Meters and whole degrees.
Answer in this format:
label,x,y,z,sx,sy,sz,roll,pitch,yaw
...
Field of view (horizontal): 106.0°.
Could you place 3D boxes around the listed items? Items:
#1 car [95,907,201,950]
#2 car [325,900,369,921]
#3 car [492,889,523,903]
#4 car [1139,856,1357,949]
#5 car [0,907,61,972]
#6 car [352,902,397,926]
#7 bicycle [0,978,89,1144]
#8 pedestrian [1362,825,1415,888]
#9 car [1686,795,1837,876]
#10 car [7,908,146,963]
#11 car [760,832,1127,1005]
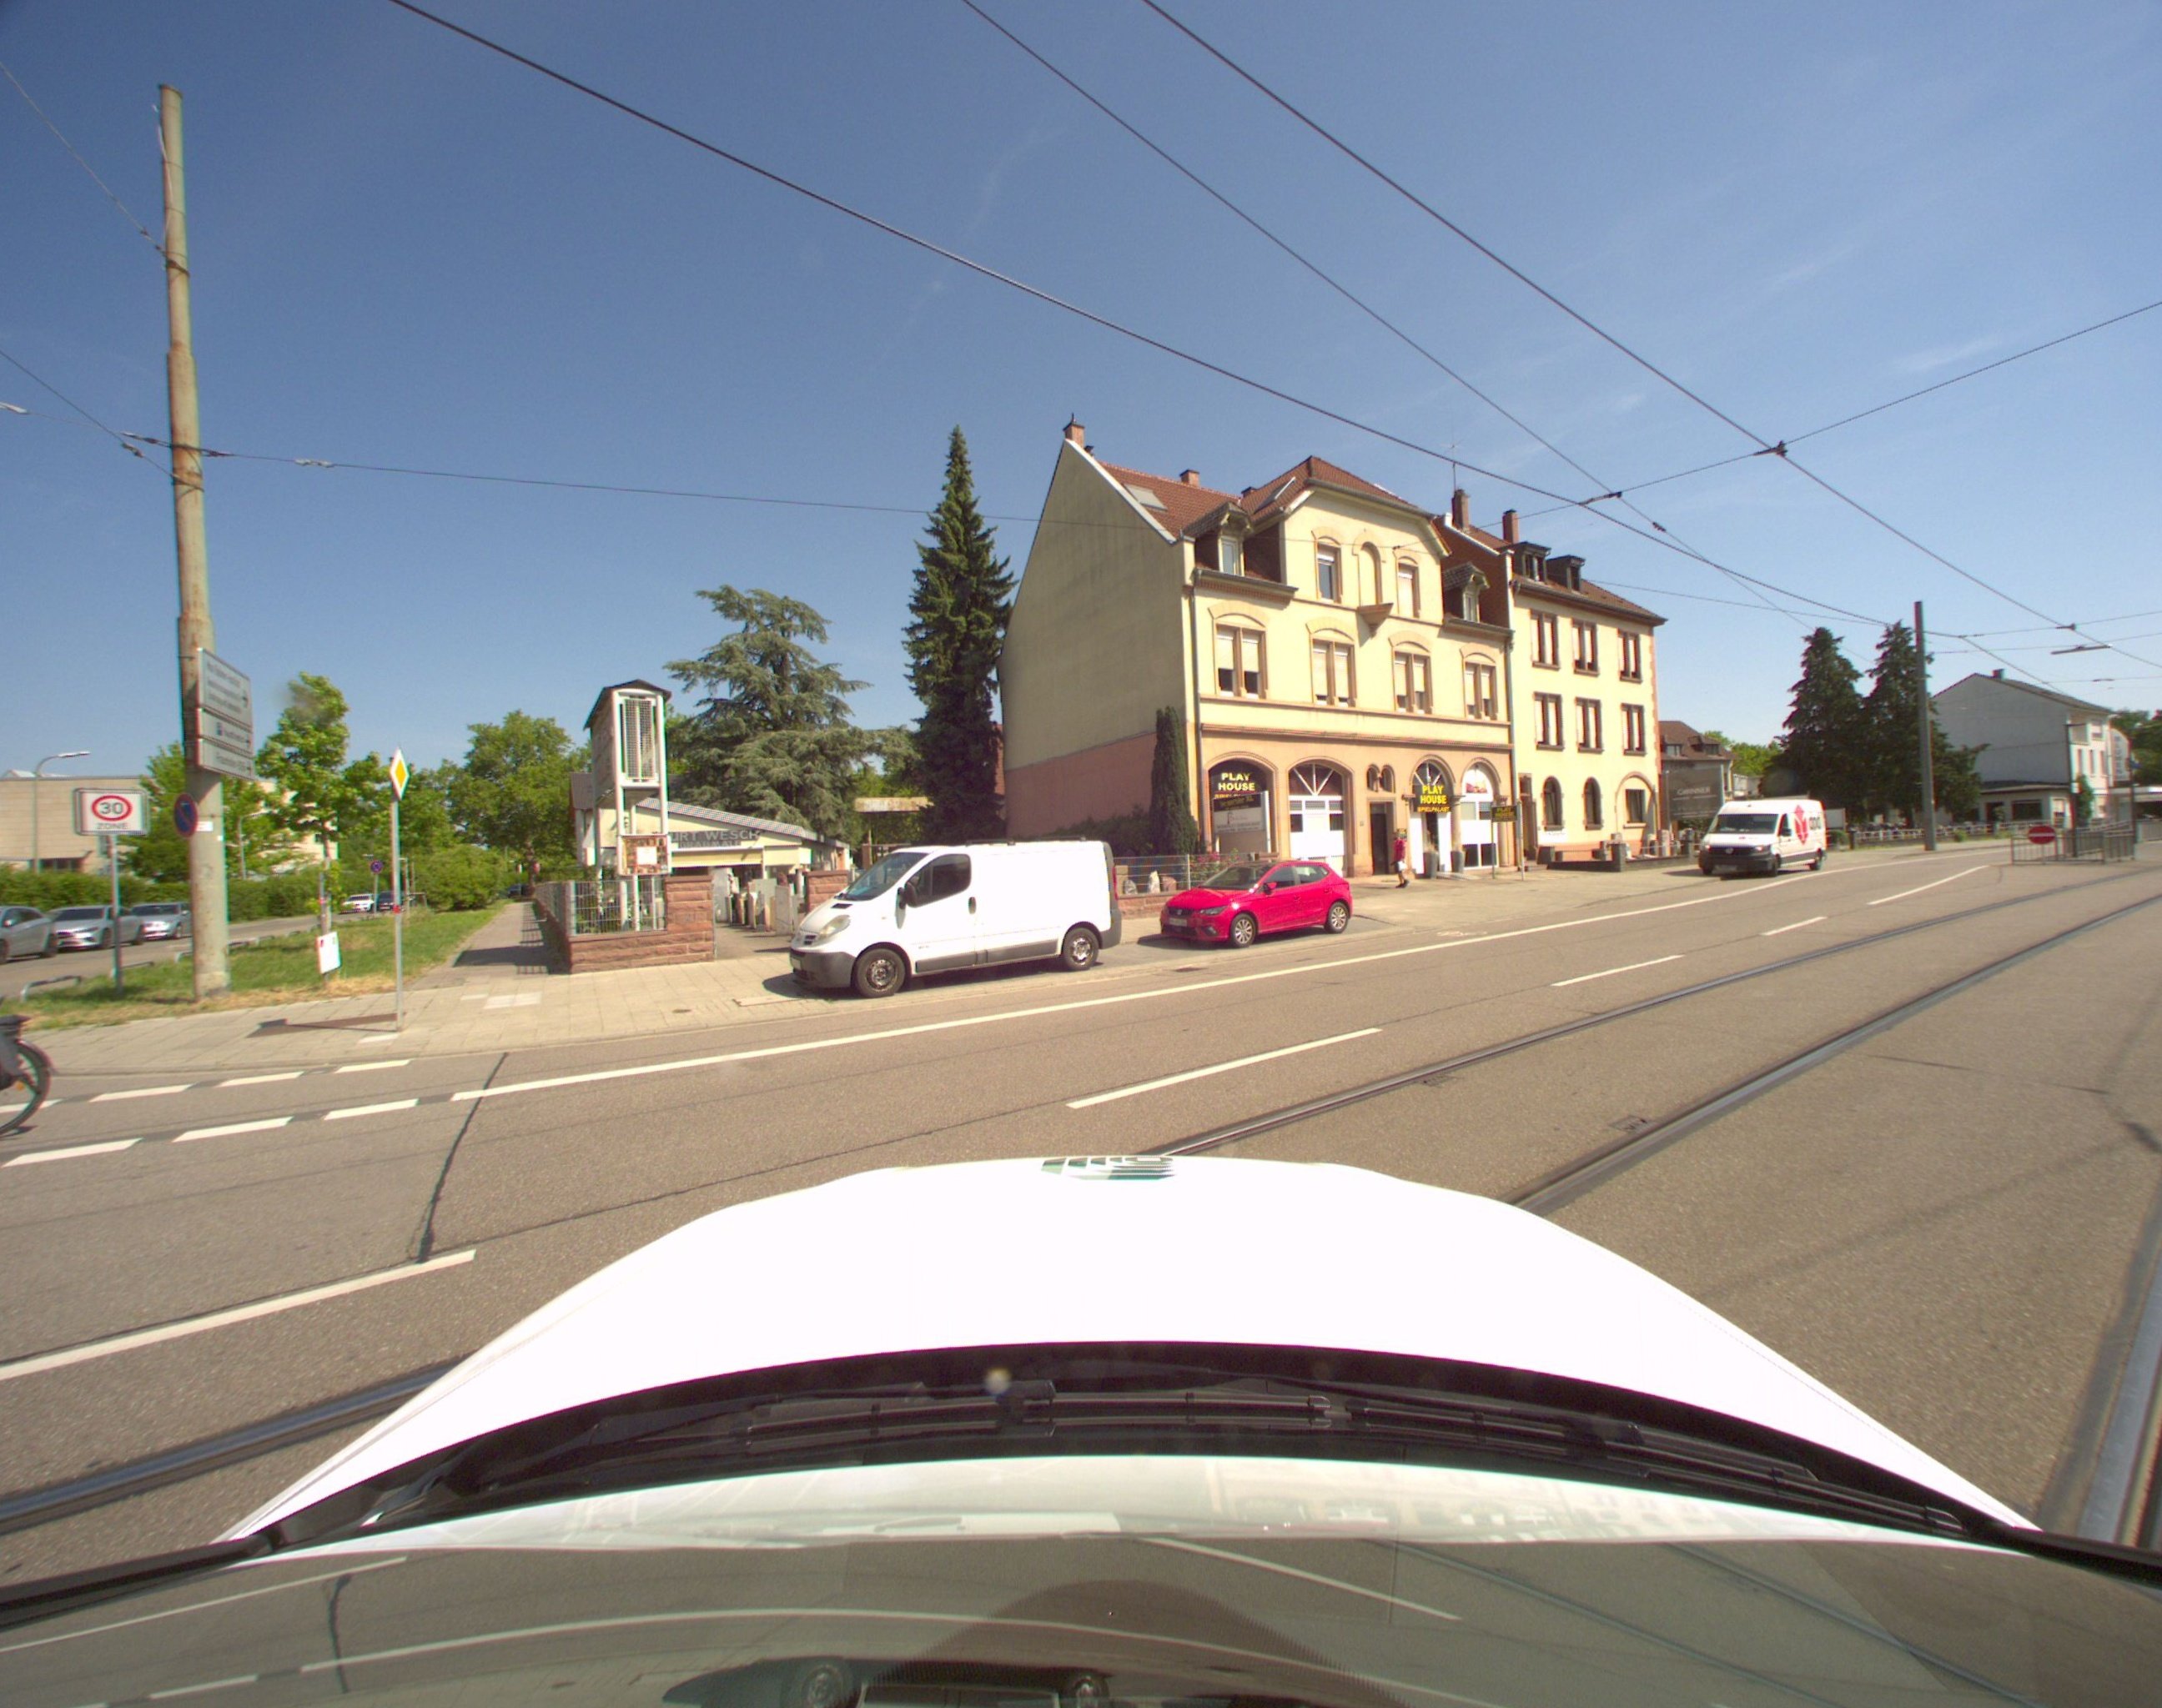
label,x,y,z,sx,sy,sz,roll,pitch,yaw
car,-35.304,2.771,30.925,1.823,1.322,3.785,-2,-1,-36
car,-57.634,4.421,64.001,1.943,1.449,3.789,-2,-1,-32
car,-68.960,5.062,97.978,1.935,1.449,3.803,-3,-1,-19
car,3.234,0.841,15.473,4.018,1.406,1.707,-2,-1,-35
car,-28.135,2.218,20.636,1.823,1.505,3.999,-3,0,-36
car,-51.379,4.345,59.282,1.943,1.449,3.787,-2,-1,-34
bicycle,-7.924,1.409,5.043,2.170,0.984,0.605,-2,-1,-29
pedestrian,9.334,0.076,24.739,1.125,1.815,0.943,-3,-1,-7
car,23.706,-0.695,28.274,6.532,2.535,2.312,-2,1,-34
car,-31.470,2.495,25.665,1.823,1.403,3.785,-2,-1,-36
car,-1.936,0.766,12.117,4.927,2.013,2.069,-2,0,-34
